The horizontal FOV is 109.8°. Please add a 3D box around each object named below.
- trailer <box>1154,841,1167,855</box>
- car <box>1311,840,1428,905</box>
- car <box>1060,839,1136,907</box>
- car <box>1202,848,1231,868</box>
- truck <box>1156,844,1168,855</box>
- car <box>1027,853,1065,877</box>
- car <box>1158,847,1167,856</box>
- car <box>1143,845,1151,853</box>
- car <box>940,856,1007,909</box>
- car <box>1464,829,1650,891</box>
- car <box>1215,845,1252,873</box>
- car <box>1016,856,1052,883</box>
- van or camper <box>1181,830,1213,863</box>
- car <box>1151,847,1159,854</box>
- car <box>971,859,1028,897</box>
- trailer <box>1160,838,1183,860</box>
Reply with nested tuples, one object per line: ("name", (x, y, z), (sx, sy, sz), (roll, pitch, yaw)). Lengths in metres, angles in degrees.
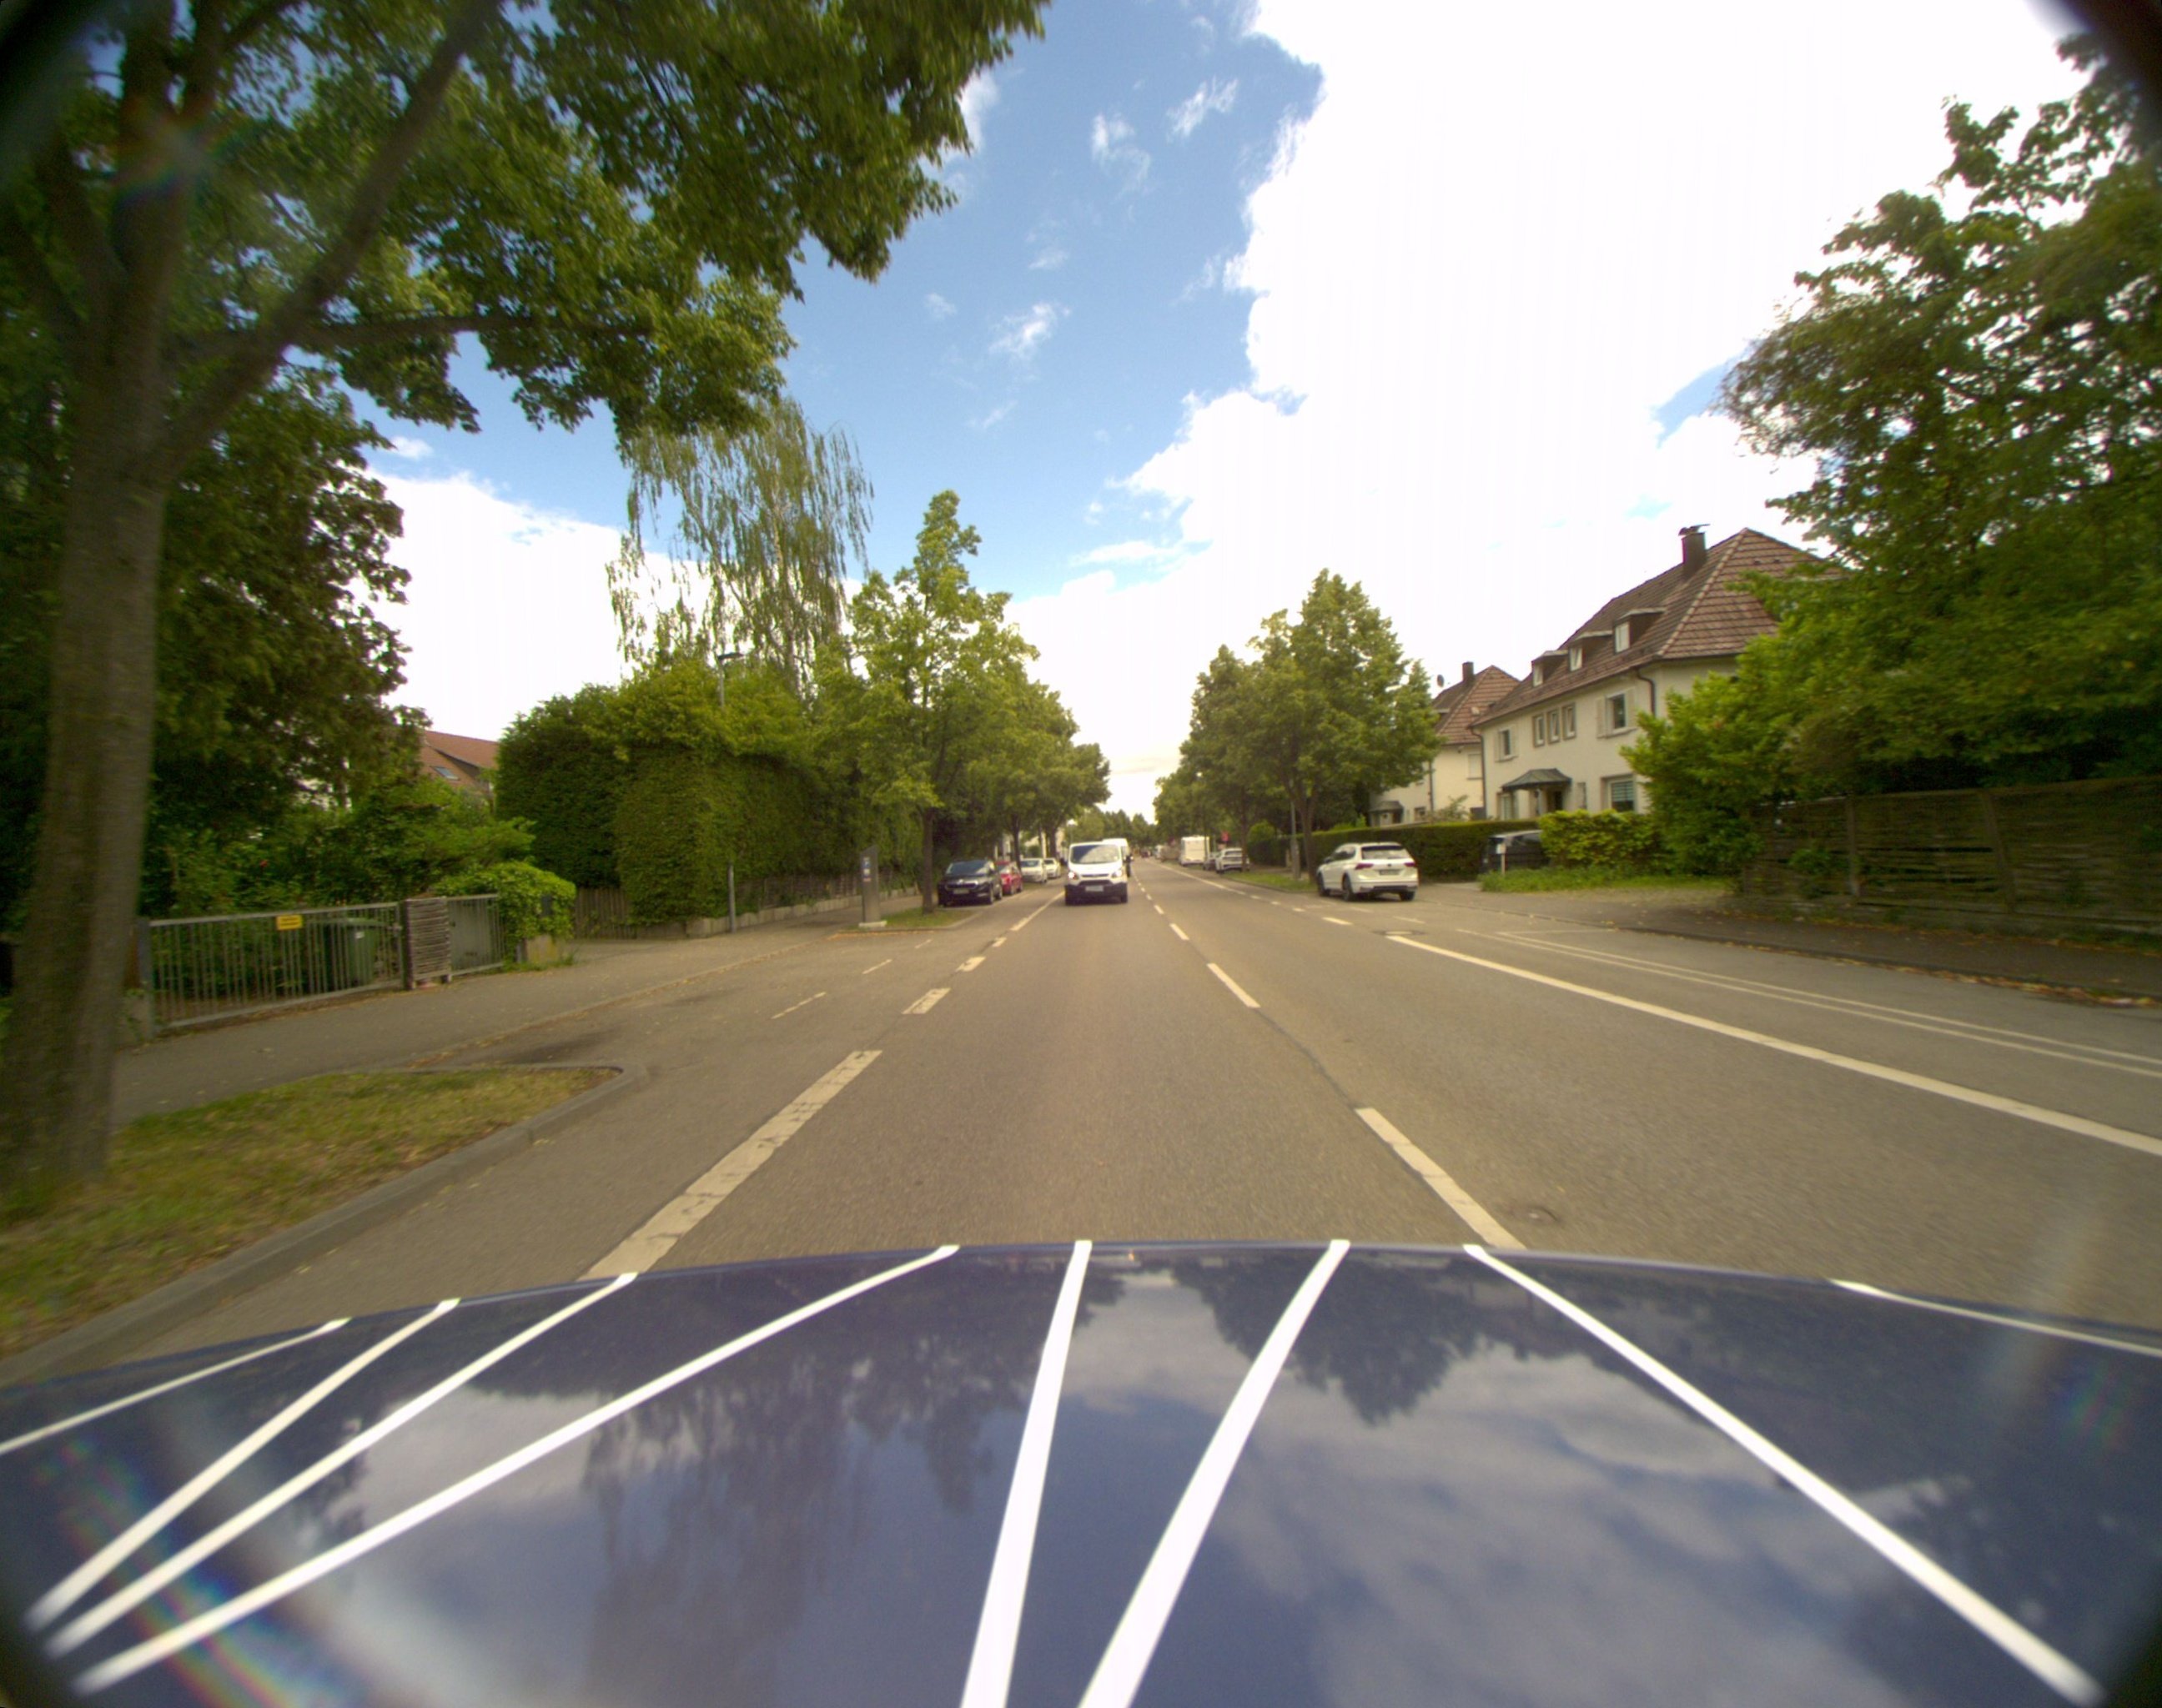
("trailer", (16.923, -1.285, 161.170), (2.376, 2.946, 7.014), (-2, 1, 9))
("car", (8.454, 0.479, 22.773), (1.878, 1.678, 4.866), (-2, 0, 3))
("car", (0.706, 0.565, 25.652), (1.997, 2.002, 5.321), (-2, 0, 7))
("car", (10.660, 0.300, 60.006), (1.559, 1.461, 4.452), (-3, 0, 2))
("truck", (17.857, -1.008, 167.843), (2.299, 2.274, 6.466), (-2, 1, 9))
("car", (-2.360, 0.727, 52.926), (2.025, 1.435, 5.026), (-3, 0, 4))
("car", (16.519, -0.560, 154.654), (1.692, 1.674, 4.226), (-3, 1, 5))
("car", (15.932, -1.272, 183.752), (1.764, 1.792, 4.769), (-2, 0, 3))
("car", (-3.706, 0.936, 26.939), (1.642, 1.606, 4.169), (-3, 0, 1))
("car", (13.654, 0.154, 21.979), (4.207, 1.576, 1.765), (-2, 1, 3))
("car", (9.980, 0.279, 49.936), (1.821, 1.642, 4.700), (-3, 0, 5))
("car", (-2.736, 0.875, 44.526), (1.619, 1.451, 3.658), (-2, 0, 3))
("van or camper", (11.500, -0.731, 75.985), (2.440, 2.992, 7.694), (-2, 0, 4))
("car", (21.458, -1.048, 219.575), (1.997, 2.002, 4.002), (-2, 0, 9))
("car", (-3.409, 0.996, 32.647), (1.641, 1.412, 4.001), (-2, 0, 5))
("trailer", (13.475, -0.785, 113.507), (2.680, 2.924, 7.475), (-3, 1, 3))
